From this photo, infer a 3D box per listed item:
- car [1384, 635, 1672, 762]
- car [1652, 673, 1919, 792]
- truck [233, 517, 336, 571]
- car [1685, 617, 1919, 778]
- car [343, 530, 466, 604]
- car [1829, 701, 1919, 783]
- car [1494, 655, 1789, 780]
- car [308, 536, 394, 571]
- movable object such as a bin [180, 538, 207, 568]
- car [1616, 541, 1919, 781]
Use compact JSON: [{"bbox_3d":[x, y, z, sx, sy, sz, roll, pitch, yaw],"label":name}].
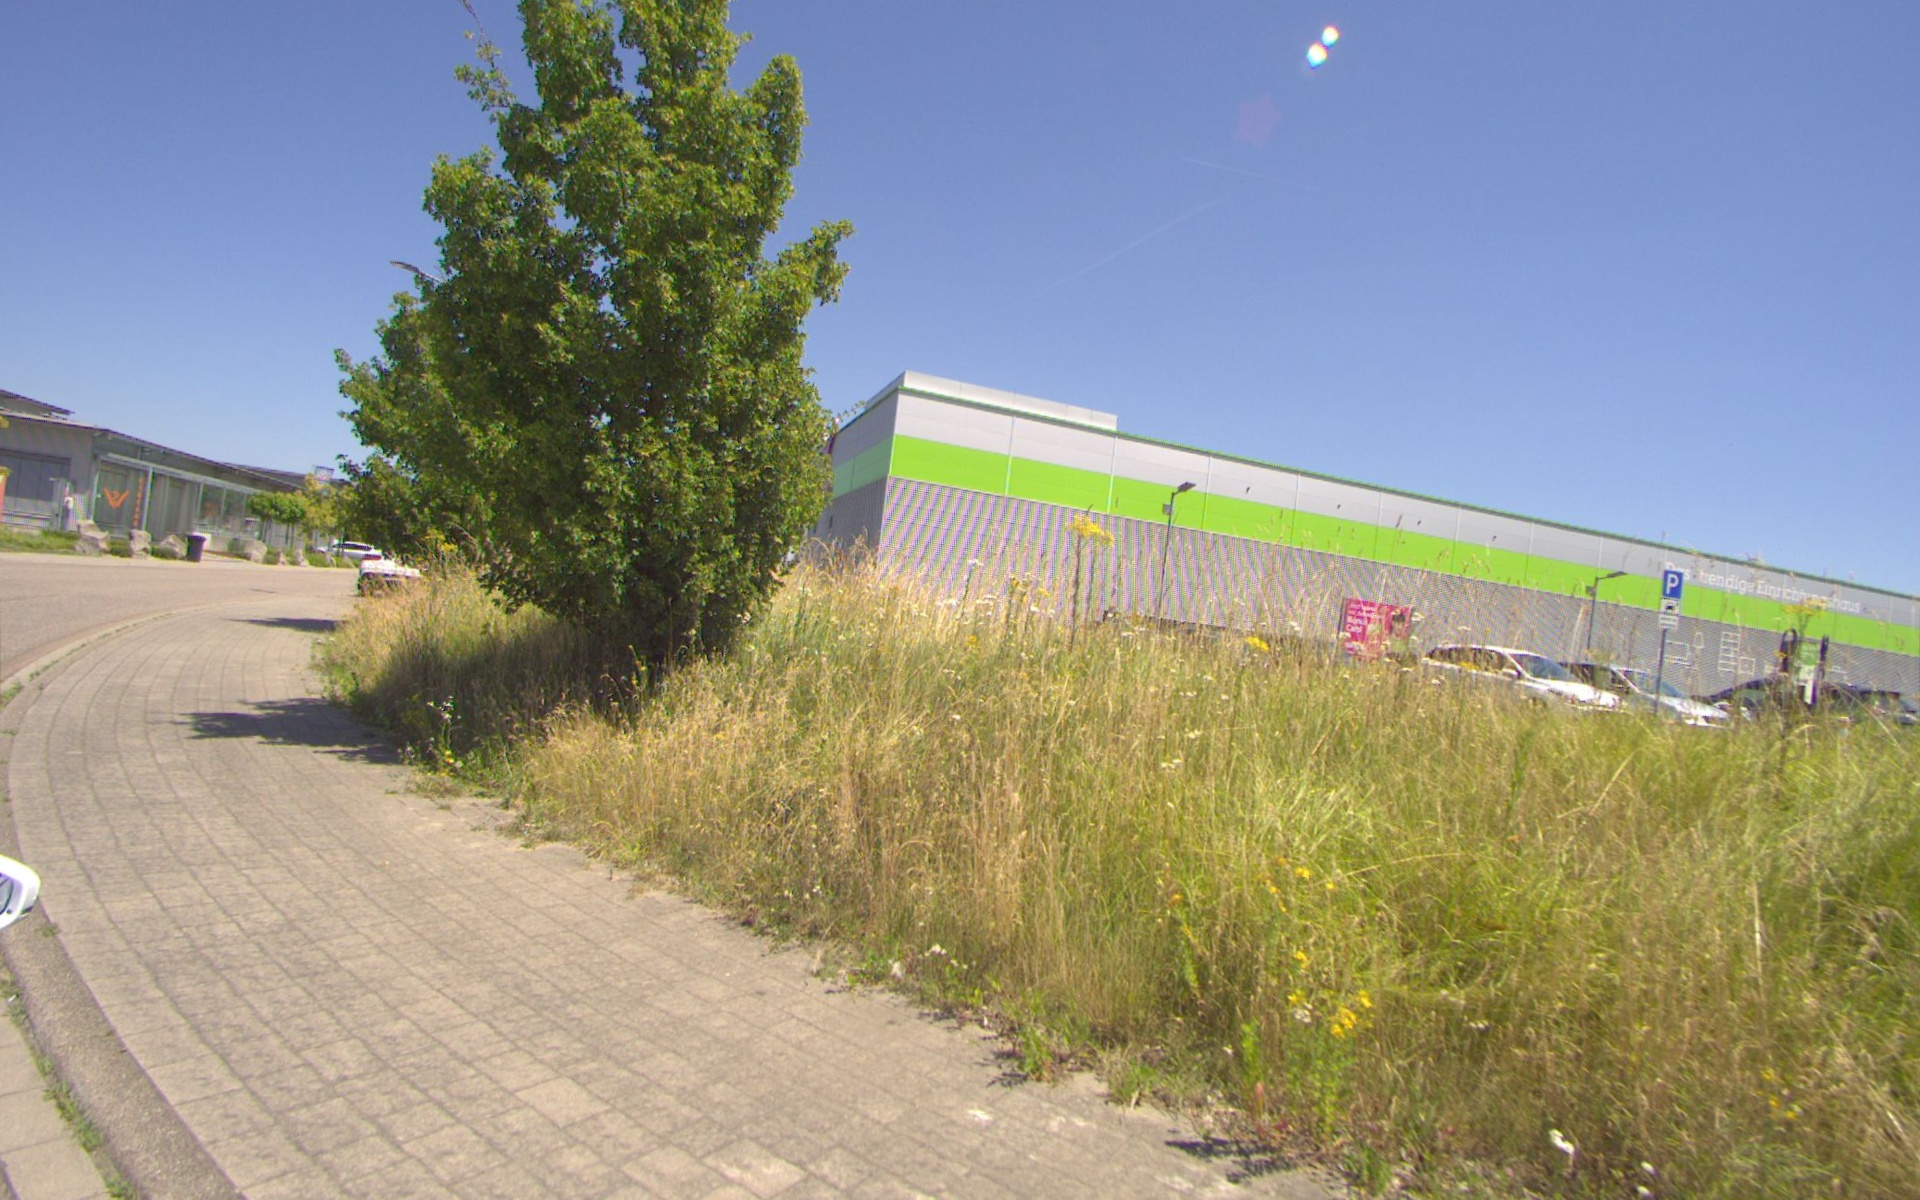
[{"bbox_3d":[10.378,1.732,18.817,1.926,1.807,4.384,7,-2,-20],"label":"car"},{"bbox_3d":[17.482,2.705,21.198,1.971,1.889,4.386,7,-2,-18],"label":"car"},{"bbox_3d":[-61.533,-5.075,91.677,7.910,3.597,2.590,8,-1,11],"label":"truck"},{"bbox_3d":[13.819,1.478,15.033,1.926,2.169,4.384,7,-2,-20],"label":"car"},{"bbox_3d":[-15.810,-0.880,28.925,2.119,1.719,4.767,6,-1,-18],"label":"car"},{"bbox_3d":[24.220,3.620,24.314,1.971,1.807,4.386,7,-2,-18],"label":"car"},{"bbox_3d":[12.993,2.173,19.552,1.910,1.807,4.386,7,-2,-18],"label":"car"},{"bbox_3d":[-38.817,-2.925,64.242,4.216,1.535,1.859,8,-2,-20],"label":"car"},{"bbox_3d":[-27.266,-1.666,35.801,0.565,0.960,0.509,8,-1,-24],"label":"movable object such as a bin"},{"bbox_3d":[11.686,0.827,13.331,1.968,2.775,4.741,7,-2,-14],"label":"car"}]
